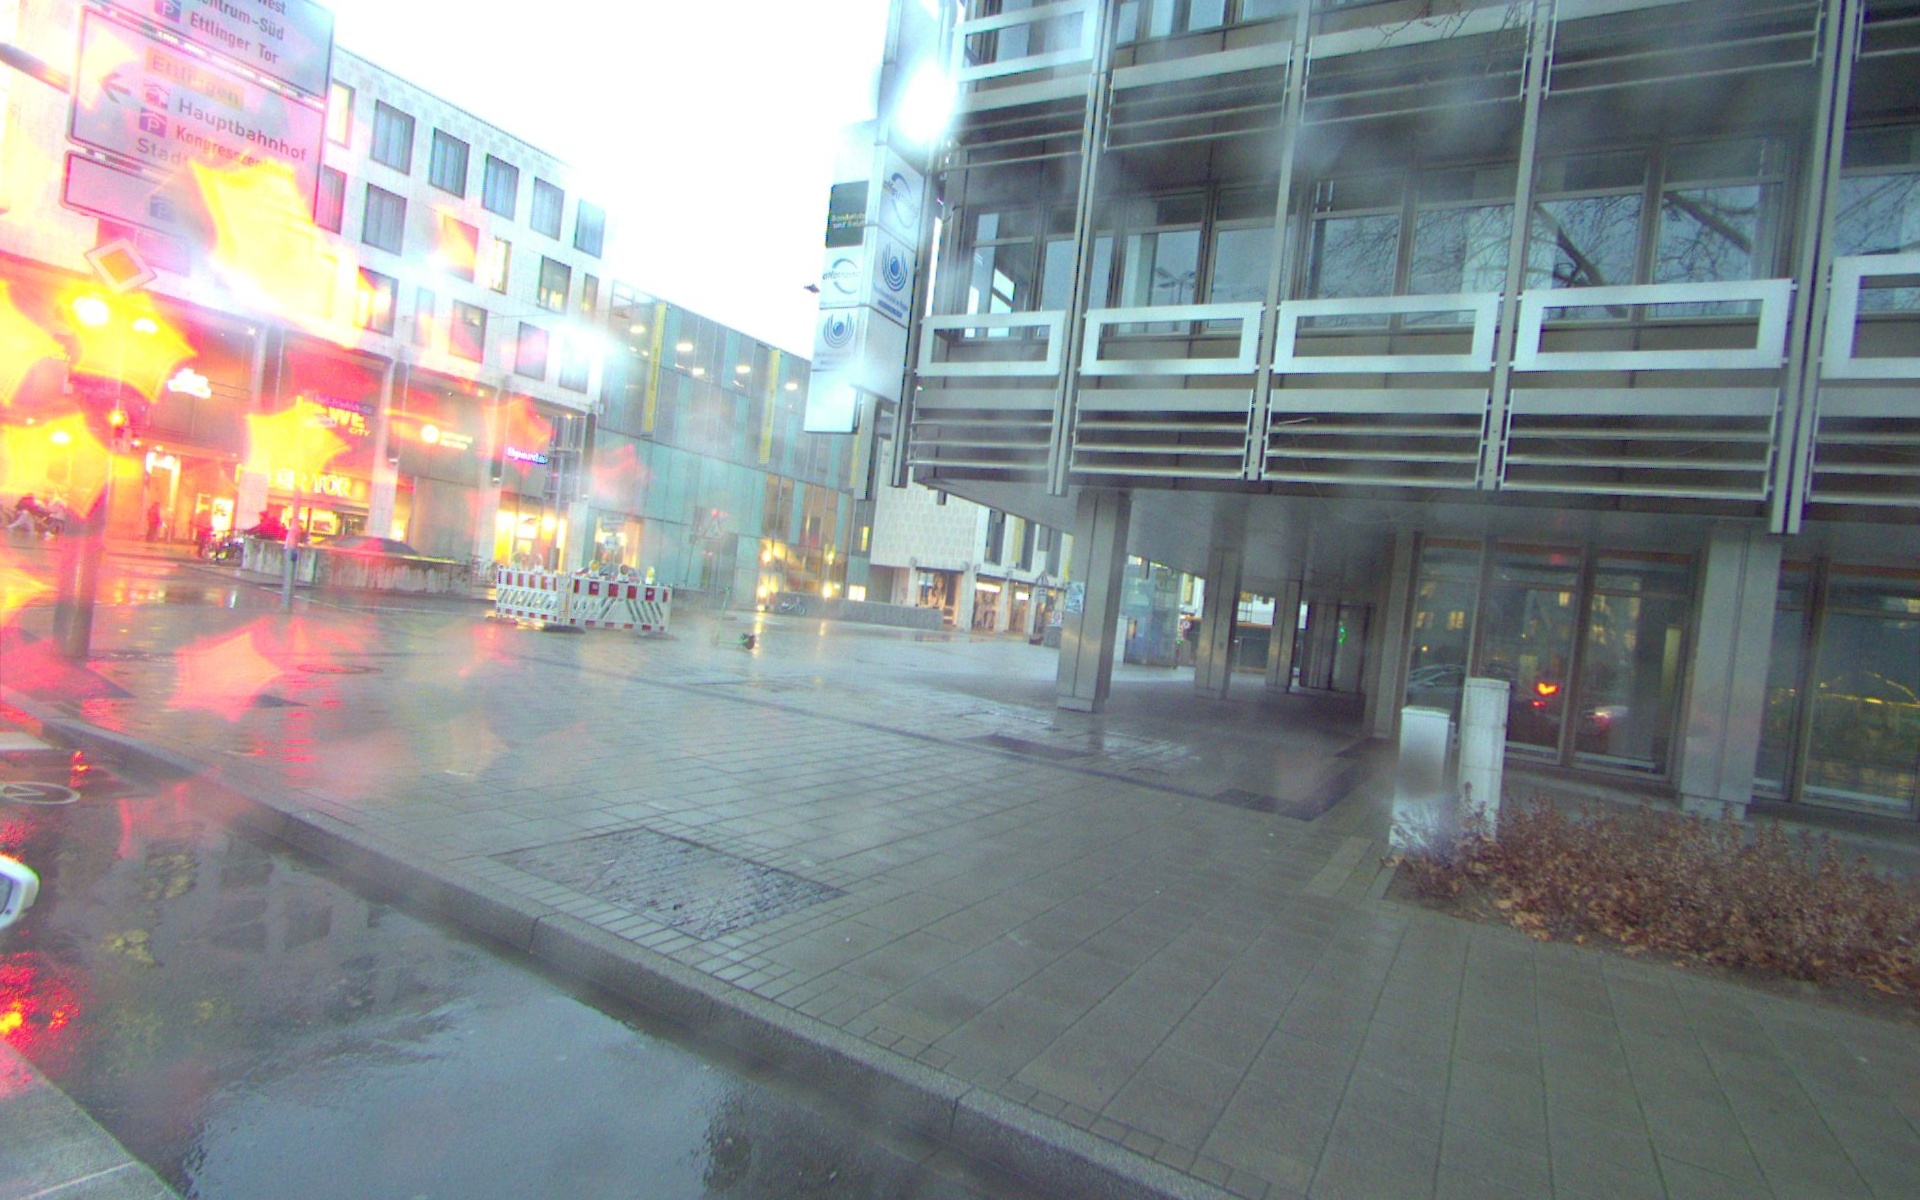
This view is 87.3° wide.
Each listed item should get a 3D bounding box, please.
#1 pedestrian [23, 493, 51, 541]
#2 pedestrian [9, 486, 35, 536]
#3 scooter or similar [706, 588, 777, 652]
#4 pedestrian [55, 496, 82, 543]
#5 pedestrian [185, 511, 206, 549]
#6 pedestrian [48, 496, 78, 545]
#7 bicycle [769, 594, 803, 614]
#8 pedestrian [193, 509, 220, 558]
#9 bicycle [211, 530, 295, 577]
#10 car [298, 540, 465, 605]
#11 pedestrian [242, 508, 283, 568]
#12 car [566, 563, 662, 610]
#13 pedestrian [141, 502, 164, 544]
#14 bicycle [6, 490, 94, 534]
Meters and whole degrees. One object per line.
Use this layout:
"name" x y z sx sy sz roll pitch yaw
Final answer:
"pedestrian" -35.490 -3.182 38.682 0.529 1.739 0.500 6 1 -21
"pedestrian" -35.059 -3.310 37.596 0.368 1.782 0.512 7 1 31
"scooter or similar" -4.397 0.398 20.228 1.215 1.144 0.606 7 0 32
"pedestrian" -35.000 -3.145 39.509 0.529 1.739 0.500 6 1 -21
"pedestrian" -36.747 -3.369 48.367 0.529 1.739 0.500 6 1 -21
"pedestrian" -34.126 -3.020 38.278 0.474 1.782 0.618 7 1 31
"bicycle" -10.716 0.246 61.866 2.101 1.046 0.616 6 0 33
"pedestrian" -27.243 -2.389 36.375 0.529 1.706 0.546 6 1 -21
"bicycle" -20.313 -1.341 28.933 1.839 1.107 0.610 7 0 -44
"car" -19.707 -0.908 34.431 1.771 1.593 4.532 7 -1 40
"pedestrian" -20.133 -1.787 29.039 0.778 1.615 0.605 6 1 -43
"car" -14.790 -0.561 43.159 1.648 1.601 3.575 6 -1 29
"pedestrian" -35.373 -3.379 44.054 0.529 1.739 0.500 6 1 -21
"bicycle" -35.951 -3.460 39.769 0.623 1.345 2.431 7 0 26
